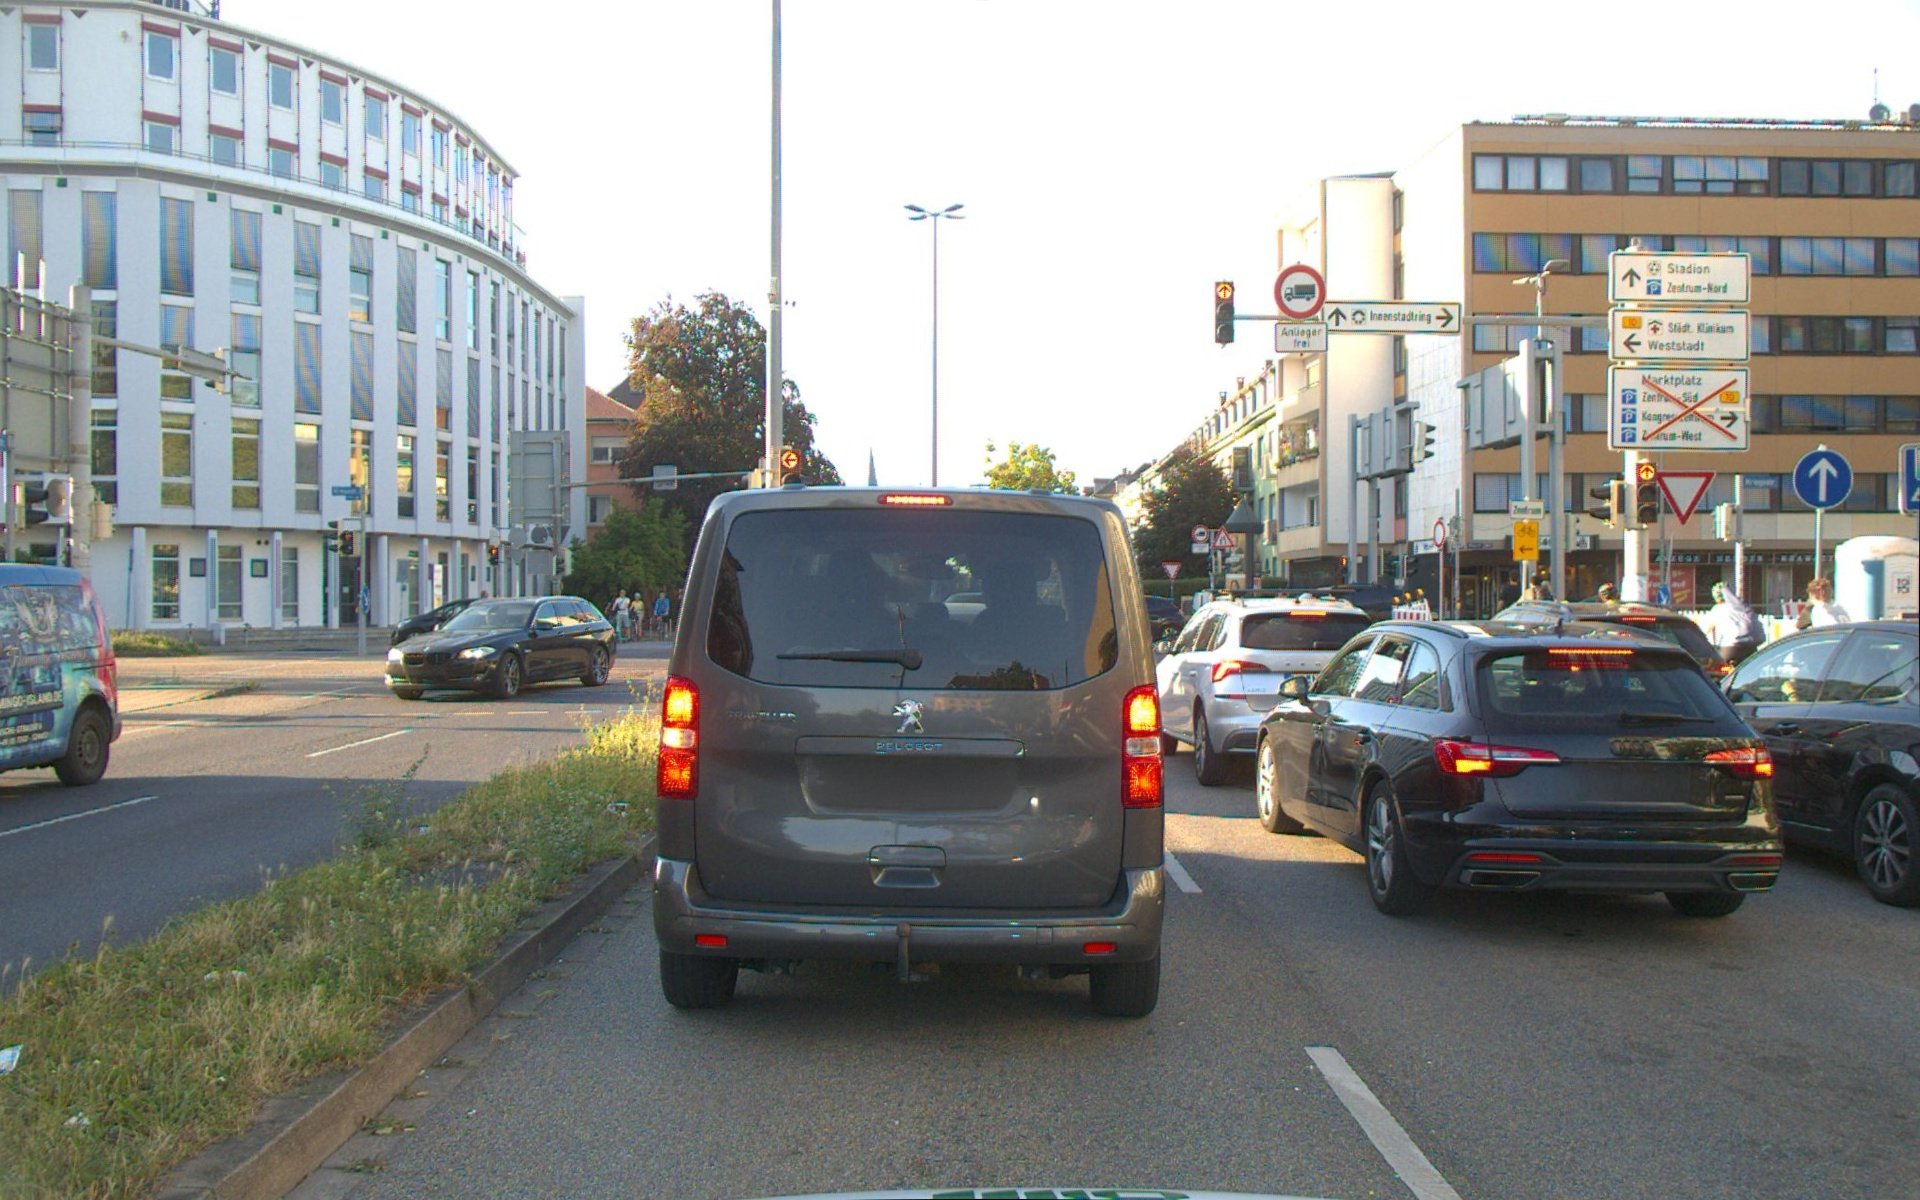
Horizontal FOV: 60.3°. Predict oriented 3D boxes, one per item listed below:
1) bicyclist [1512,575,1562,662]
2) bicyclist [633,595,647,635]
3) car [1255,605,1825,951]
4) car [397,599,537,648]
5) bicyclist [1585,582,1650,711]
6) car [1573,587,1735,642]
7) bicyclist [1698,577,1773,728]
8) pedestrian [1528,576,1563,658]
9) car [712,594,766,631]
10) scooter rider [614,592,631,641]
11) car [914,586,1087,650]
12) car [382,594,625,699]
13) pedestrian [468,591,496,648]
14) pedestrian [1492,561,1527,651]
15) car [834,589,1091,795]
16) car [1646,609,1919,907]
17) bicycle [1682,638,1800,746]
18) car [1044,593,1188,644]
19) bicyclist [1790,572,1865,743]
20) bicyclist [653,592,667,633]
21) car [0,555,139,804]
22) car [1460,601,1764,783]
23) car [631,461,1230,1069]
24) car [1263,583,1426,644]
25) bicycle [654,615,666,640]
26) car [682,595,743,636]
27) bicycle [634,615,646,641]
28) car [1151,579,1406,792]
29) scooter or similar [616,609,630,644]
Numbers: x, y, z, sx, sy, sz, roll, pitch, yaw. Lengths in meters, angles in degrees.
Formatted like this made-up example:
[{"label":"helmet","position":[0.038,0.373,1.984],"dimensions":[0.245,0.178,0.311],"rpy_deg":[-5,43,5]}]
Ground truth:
[{"label":"bicyclist","position":[10.968,0.337,31.456],"dimensions":[0.605,1.616,0.814],"rpy_deg":[1,1,-4]},{"label":"bicyclist","position":[-12.386,0.579,63.969],"dimensions":[0.453,1.548,0.469],"rpy_deg":[0,0,-1]},{"label":"car","position":[2.891,0.779,9.269],"dimensions":[1.647,1.446,4.213],"rpy_deg":[1,0,-1]},{"label":"car","position":[-13.800,0.632,46.448],"dimensions":[3.539,1.319,1.832],"rpy_deg":[0,0,-9]},{"label":"bicyclist","position":[8.067,0.562,20.316],"dimensions":[0.503,1.552,0.725],"rpy_deg":[0,0,-1]},{"label":"car","position":[19.104,0.382,45.562],"dimensions":[3.920,1.443,1.675],"rpy_deg":[0,0,-14]},{"label":"bicyclist","position":[8.139,0.540,17.382],"dimensions":[0.432,1.552,0.725],"rpy_deg":[0,0,-1]},{"label":"pedestrian","position":[12.348,0.357,34.883],"dimensions":[0.589,1.700,0.454],"rpy_deg":[0,0,1]},{"label":"car","position":[-9.042,0.498,67.954],"dimensions":[1.819,1.445,3.998],"rpy_deg":[0,0,-2]},{"label":"scooter rider","position":[-11.853,0.583,58.070],"dimensions":[0.471,1.727,0.636],"rpy_deg":[0,0,-1]},{"label":"car","position":[0.993,0.400,39.365],"dimensions":[3.954,1.443,1.661],"rpy_deg":[0,0,-36]},{"label":"car","position":[-6.988,0.664,25.800],"dimensions":[1.661,1.467,4.244],"rpy_deg":[0,0,16]},{"label":"pedestrian","position":[-14.710,0.587,50.929],"dimensions":[0.621,1.752,0.662],"rpy_deg":[0,0,-38]},{"label":"pedestrian","position":[11.545,0.126,34.760],"dimensions":[0.558,1.866,0.487],"rpy_deg":[0,0,1]},{"label":"car","position":[-0.013,0.694,14.608],"dimensions":[1.953,1.557,3.999],"rpy_deg":[0,0,-1]},{"label":"car","position":[5.643,0.824,9.733],"dimensions":[1.600,1.474,3.744],"rpy_deg":[1,0,-1]},{"label":"bicycle","position":[8.135,0.932,17.299],"dimensions":[0.329,1.025,1.855],"rpy_deg":[0,0,-1]},{"label":"car","position":[4.347,0.490,46.404],"dimensions":[3.744,1.378,1.724],"rpy_deg":[0,0,-8]},{"label":"bicyclist","position":[7.977,0.519,15.221],"dimensions":[0.432,1.552,0.482],"rpy_deg":[0,0,-1]},{"label":"bicyclist","position":[-11.623,0.471,64.057],"dimensions":[0.467,1.582,0.509],"rpy_deg":[0,0,-1]},{"label":"car","position":[-8.100,0.595,12.309],"dimensions":[1.953,1.849,4.228],"rpy_deg":[0,0,-2]},{"label":"car","position":[5.920,0.767,15.398],"dimensions":[1.474,1.474,3.304],"rpy_deg":[1,0,-1]},{"label":"car","position":[-0.124,0.521,7.514],"dimensions":[1.868,1.896,4.525],"rpy_deg":[1,0,-1]},{"label":"car","position":[10.071,0.336,43.318],"dimensions":[3.930,1.543,1.671],"rpy_deg":[0,0,-22]},{"label":"bicycle","position":[-11.613,1.062,64.088],"dimensions":[0.270,0.965,1.072],"rpy_deg":[0,0,-1]},{"label":"car","position":[-9.286,0.562,62.277],"dimensions":[1.819,1.445,3.998],"rpy_deg":[0,0,-2]},{"label":"bicycle","position":[-12.368,1.068,63.956],"dimensions":[0.285,0.965,1.072],"rpy_deg":[0,0,-1]},{"label":"car","position":[2.724,0.668,14.892],"dimensions":[1.498,1.641,3.744],"rpy_deg":[1,0,-1]},{"label":"scooter or similar","position":[-11.860,0.942,58.220],"dimensions":[0.279,1.209,1.169],"rpy_deg":[0,0,-1]}]
